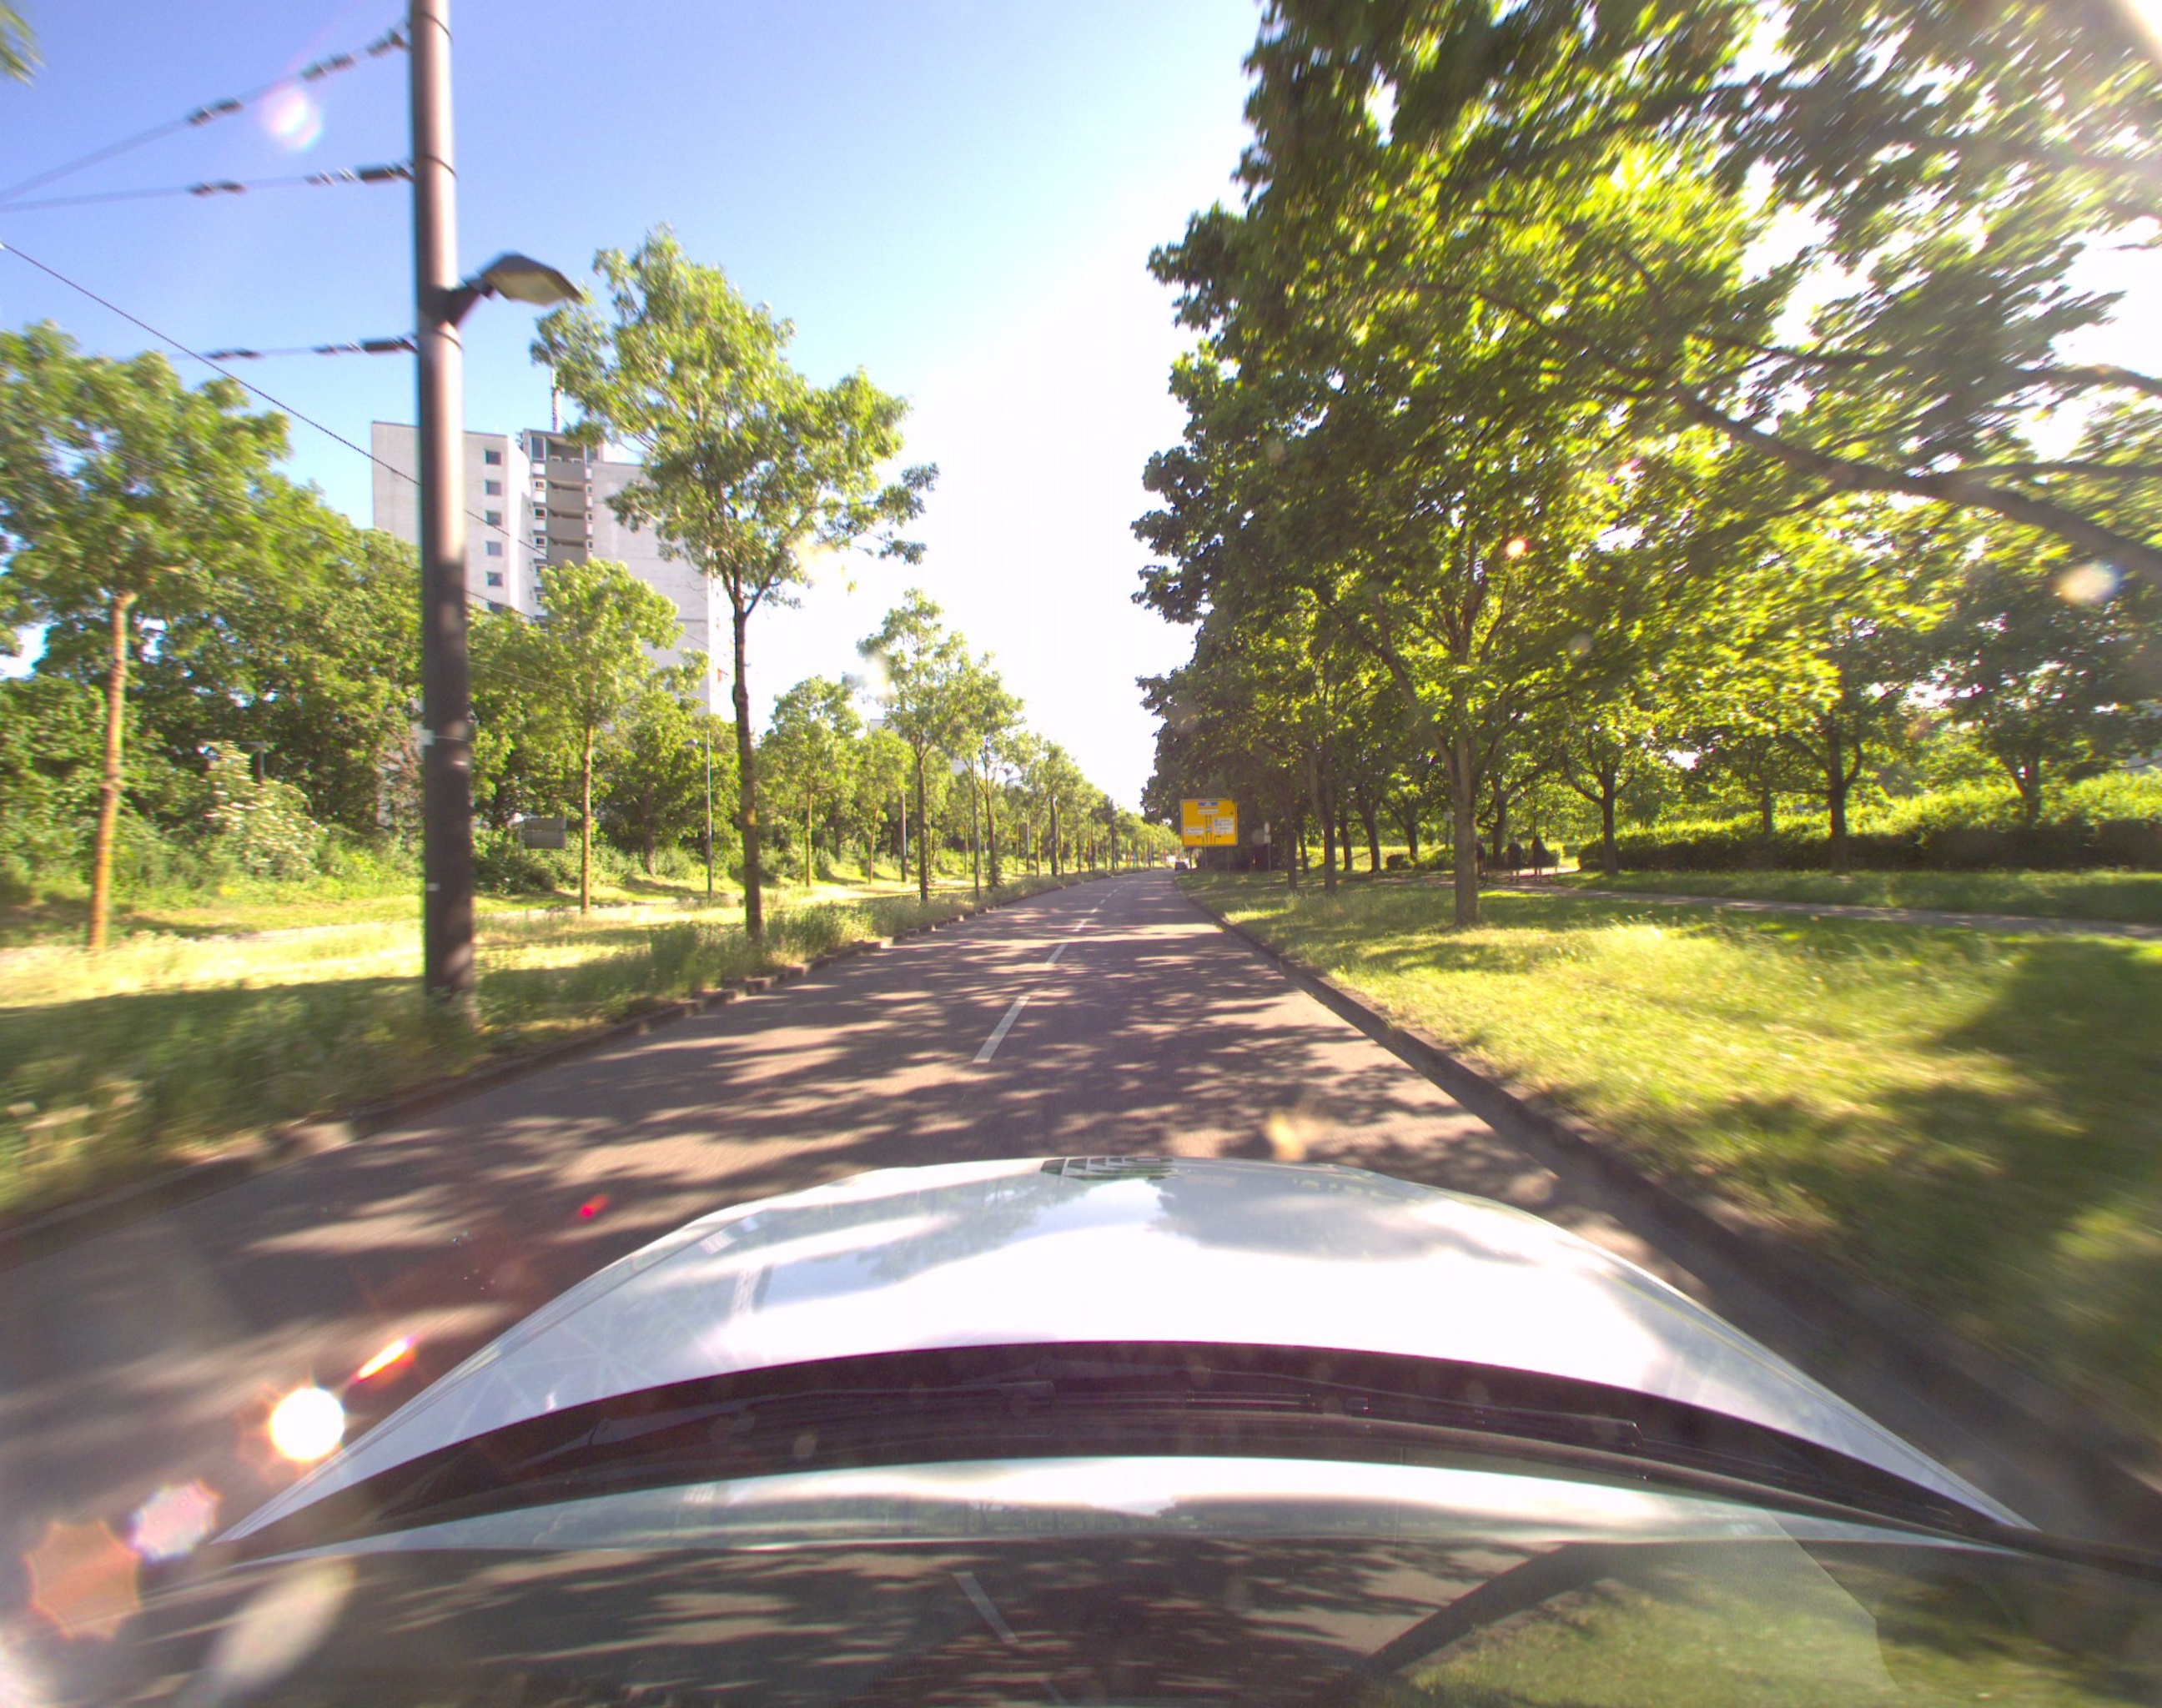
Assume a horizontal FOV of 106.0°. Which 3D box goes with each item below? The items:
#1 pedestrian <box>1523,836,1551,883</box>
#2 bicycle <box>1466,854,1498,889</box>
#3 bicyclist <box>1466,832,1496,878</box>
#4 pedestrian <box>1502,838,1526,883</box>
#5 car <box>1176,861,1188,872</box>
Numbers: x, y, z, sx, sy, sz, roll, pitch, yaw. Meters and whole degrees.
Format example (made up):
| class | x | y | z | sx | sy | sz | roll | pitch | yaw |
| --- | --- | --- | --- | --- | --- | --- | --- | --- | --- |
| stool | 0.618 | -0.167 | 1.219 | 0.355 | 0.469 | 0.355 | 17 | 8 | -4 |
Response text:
| class | x | y | z | sx | sy | sz | roll | pitch | yaw |
| --- | --- | --- | --- | --- | --- | --- | --- | --- | --- |
| pedestrian | 16.778 | 0.203 | 30.000 | 0.631 | 1.692 | 0.847 | -2 | -1 | 14 |
| bicycle | 13.020 | 0.547 | 26.514 | 0.787 | 1.047 | 2.154 | -3 | -1 | 23 |
| bicyclist | 12.991 | 0.031 | 26.500 | 0.782 | 1.450 | 0.850 | -3 | -1 | 23 |
| pedestrian | 16.219 | 0.239 | 30.488 | 0.543 | 1.622 | 0.847 | -2 | -1 | 14 |
| car | 14.835 | 1.830 | 119.154 | 1.625 | 1.498 | 4.244 | -1 | -1 | 8 |
